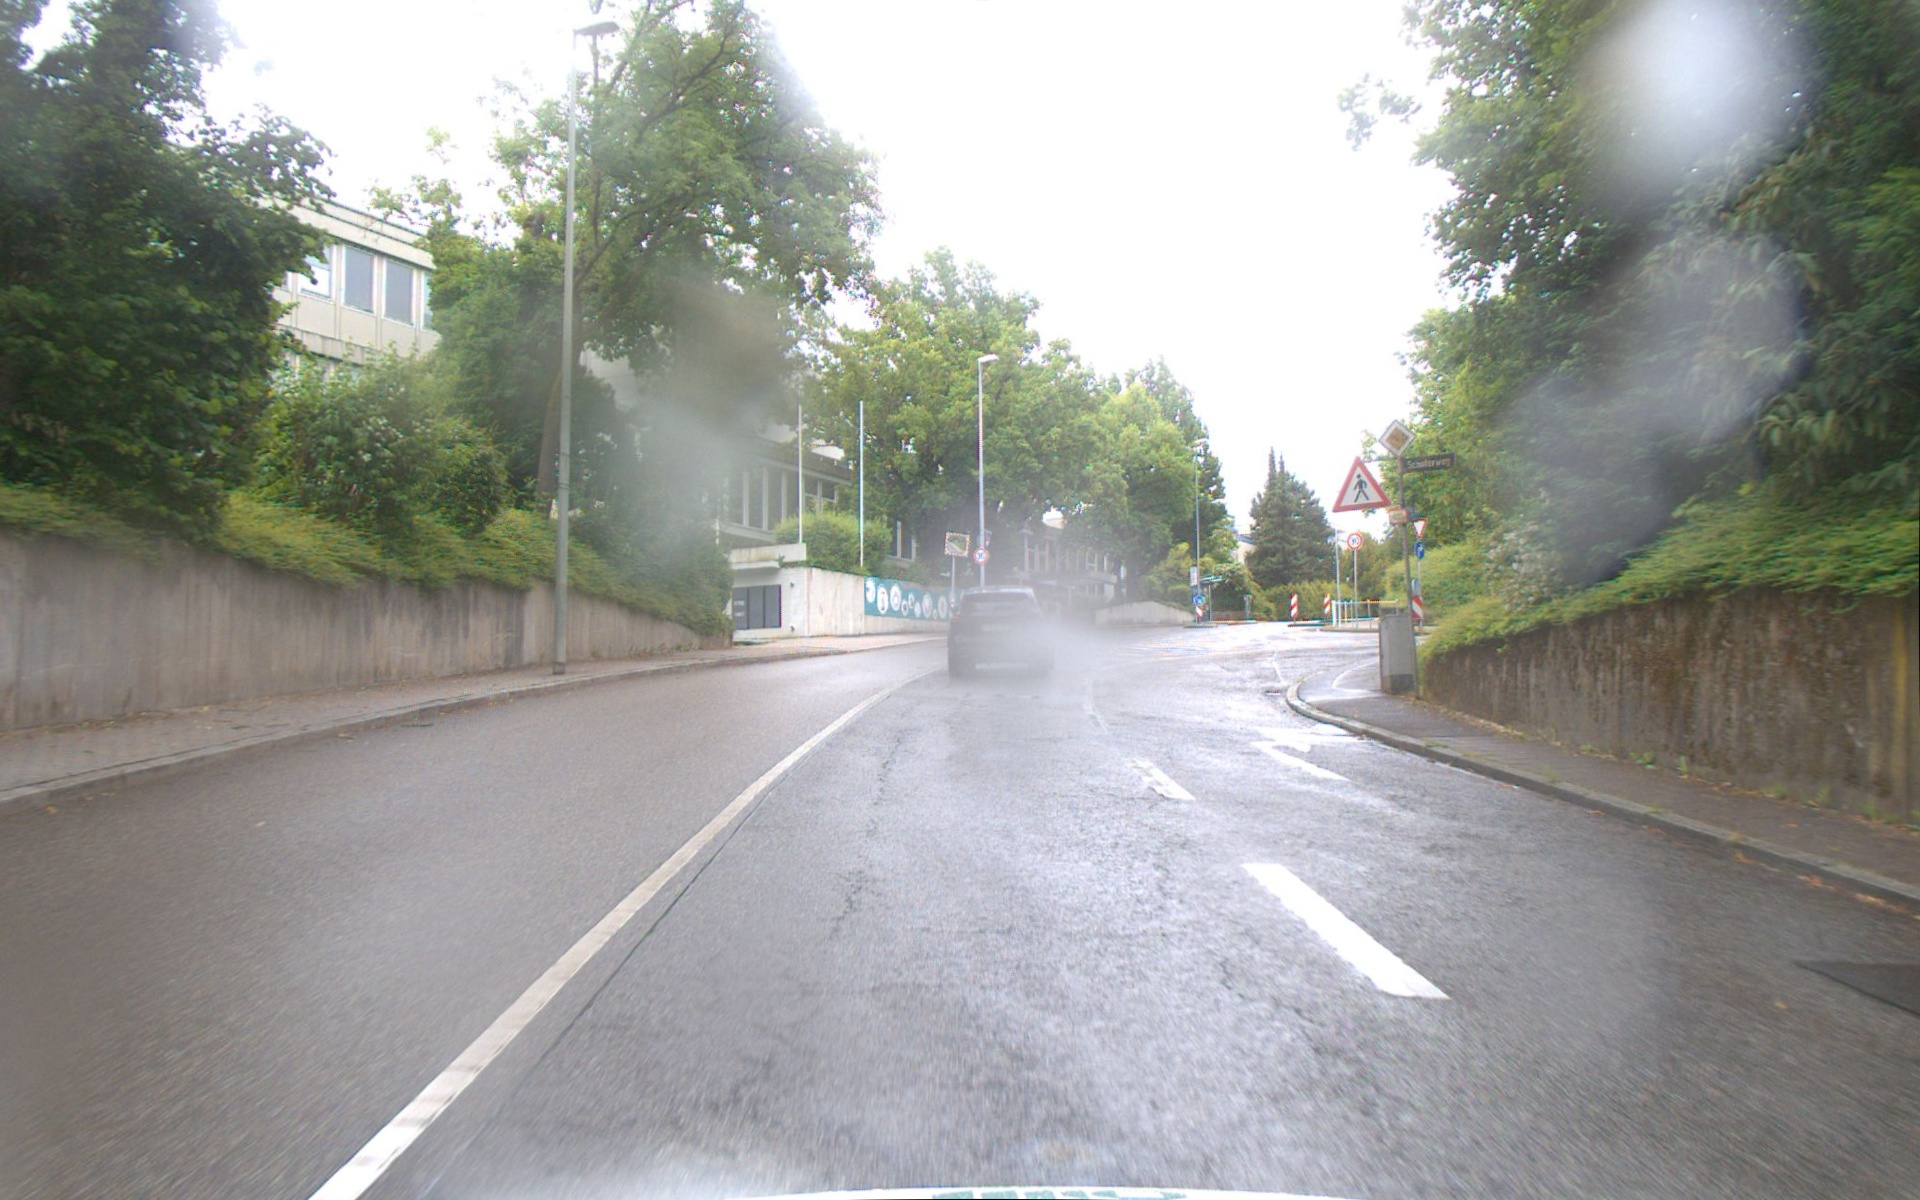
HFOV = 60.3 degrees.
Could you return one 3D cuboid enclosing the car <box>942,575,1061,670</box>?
[{"bbox_3d":[0.841,0.375,30.776,1.887,1.641,4.003,0,0,6],"label":"car"}]
